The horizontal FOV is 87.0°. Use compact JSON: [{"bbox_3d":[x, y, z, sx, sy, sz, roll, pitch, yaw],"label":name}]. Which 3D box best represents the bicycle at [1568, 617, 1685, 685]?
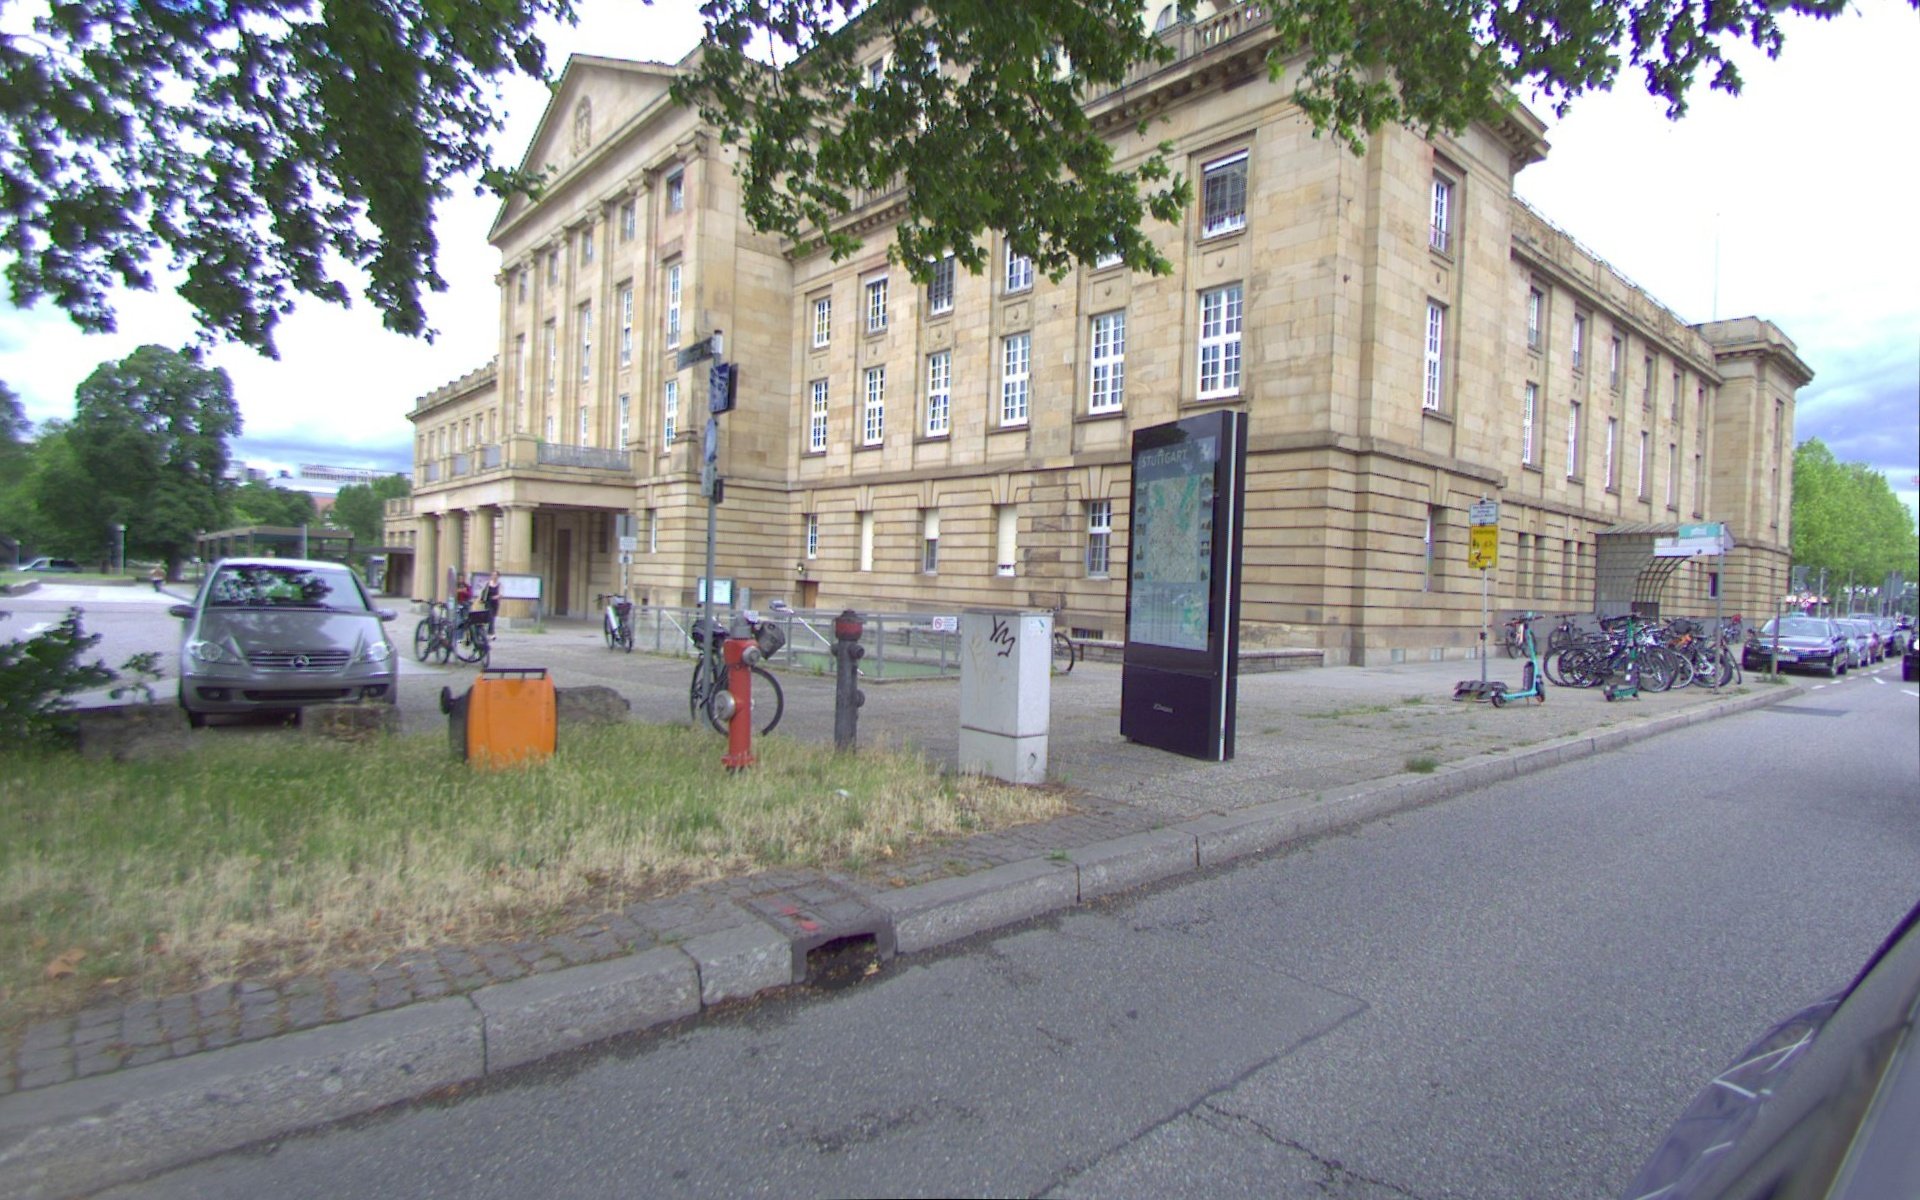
[{"bbox_3d":[11.702,0.870,17.833,0.417,1.105,1.736,1,0,-28],"label":"bicycle"}]

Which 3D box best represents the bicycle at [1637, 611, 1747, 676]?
[{"bbox_3d":[13.682,0.797,18.949,1.596,1.144,0.405,1,-1,24],"label":"bicycle"}]

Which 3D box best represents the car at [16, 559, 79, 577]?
[{"bbox_3d":[-96.226,-3.395,106.786,4.823,1.761,2.076,0,0,-38],"label":"car"}]

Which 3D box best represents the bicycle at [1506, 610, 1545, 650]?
[{"bbox_3d":[14.664,0.764,26.224,1.929,1.010,0.240,0,1,-42],"label":"bicycle"}]

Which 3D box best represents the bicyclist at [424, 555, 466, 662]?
[{"bbox_3d":[-8.737,0.140,17.166,0.436,1.770,0.468,2,0,41],"label":"bicyclist"}]

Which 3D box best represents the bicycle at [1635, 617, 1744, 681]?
[{"bbox_3d":[13.729,0.910,19.086,1.596,1.144,0.466,1,-1,24],"label":"bicycle"}]

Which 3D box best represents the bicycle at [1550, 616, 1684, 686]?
[{"bbox_3d":[11.313,0.846,17.492,0.652,1.105,1.866,1,0,-28],"label":"bicycle"}]

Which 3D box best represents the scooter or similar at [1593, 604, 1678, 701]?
[{"bbox_3d":[9.999,0.738,14.966,1.389,1.348,0.726,1,0,-42],"label":"scooter or similar"}]

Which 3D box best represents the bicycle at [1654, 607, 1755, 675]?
[{"bbox_3d":[14.735,0.796,20.066,0.532,1.273,1.550,1,0,-22],"label":"bicycle"}]

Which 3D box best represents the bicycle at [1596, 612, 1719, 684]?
[{"bbox_3d":[12.729,0.846,18.506,0.594,1.224,1.759,1,-1,-44],"label":"bicycle"}]

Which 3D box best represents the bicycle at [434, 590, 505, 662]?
[{"bbox_3d":[-8.406,0.422,17.314,1.748,1.146,0.437,2,1,42],"label":"bicycle"}]

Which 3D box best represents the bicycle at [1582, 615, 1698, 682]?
[{"bbox_3d":[12.070,0.831,18.011,0.373,1.105,1.736,1,0,-28],"label":"bicycle"}]

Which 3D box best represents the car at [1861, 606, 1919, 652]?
[{"bbox_3d":[35.264,1.086,38.025,3.642,1.571,1.549,1,2,-40],"label":"car"}]

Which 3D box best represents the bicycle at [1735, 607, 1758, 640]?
[{"bbox_3d":[32.904,0.977,42.344,1.759,1.304,0.413,1,1,-42],"label":"bicycle"}]

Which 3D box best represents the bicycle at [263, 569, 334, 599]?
[{"bbox_3d":[-32.827,-0.793,50.266,0.959,1.444,2.852,-1,-1,45],"label":"bicycle"}]

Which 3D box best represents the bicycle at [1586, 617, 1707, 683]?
[{"bbox_3d":[12.381,0.871,18.304,0.563,1.105,1.735,1,0,-32],"label":"bicycle"}]

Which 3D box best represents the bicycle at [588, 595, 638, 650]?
[{"bbox_3d":[-7.407,0.450,21.552,0.418,1.114,2.172,1,0,-35],"label":"bicycle"}]

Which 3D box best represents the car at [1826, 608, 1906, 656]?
[{"bbox_3d":[31.227,1.070,34.862,3.792,1.473,1.618,1,2,-42],"label":"car"}]

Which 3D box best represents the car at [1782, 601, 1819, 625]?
[{"bbox_3d":[57.357,0.882,69.042,3.445,1.549,1.581,1,0,-44],"label":"car"}]

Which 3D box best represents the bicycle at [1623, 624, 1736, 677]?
[{"bbox_3d":[14.191,0.979,20.014,0.601,0.928,1.737,1,1,-22],"label":"bicycle"}]

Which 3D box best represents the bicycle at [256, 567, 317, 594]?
[{"bbox_3d":[-34.494,-0.993,51.888,2.534,1.362,0.726,0,-1,-41],"label":"bicycle"}]

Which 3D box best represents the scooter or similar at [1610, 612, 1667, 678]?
[{"bbox_3d":[13.315,0.863,19.850,1.286,1.240,0.427,0,-1,-31],"label":"scooter or similar"}]

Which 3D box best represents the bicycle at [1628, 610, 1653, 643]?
[{"bbox_3d":[22.342,0.865,33.214,1.827,1.042,0.222,1,-1,-42],"label":"bicycle"}]

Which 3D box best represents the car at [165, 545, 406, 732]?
[{"bbox_3d":[-7.192,0.285,10.626,1.649,1.588,3.843,1,1,-40],"label":"car"}]

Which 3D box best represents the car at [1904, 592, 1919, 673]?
[{"bbox_3d":[25.394,0.836,25.471,4.322,1.950,1.951,1,1,-42],"label":"car"}]

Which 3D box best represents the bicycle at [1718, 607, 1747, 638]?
[{"bbox_3d":[31.637,0.915,41.433,1.882,1.232,0.556,1,1,-42],"label":"bicycle"}]

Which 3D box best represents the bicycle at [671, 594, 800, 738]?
[{"bbox_3d":[-2.216,0.587,9.849,0.483,1.236,1.790,1,1,-38],"label":"bicycle"}]

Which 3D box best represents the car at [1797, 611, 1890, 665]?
[{"bbox_3d":[27.382,1.123,31.318,3.929,1.443,1.711,1,2,-43],"label":"car"}]

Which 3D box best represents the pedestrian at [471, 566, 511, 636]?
[{"bbox_3d":[-11.898,0.030,25.671,0.692,1.744,0.680,1,0,-43],"label":"pedestrian"}]

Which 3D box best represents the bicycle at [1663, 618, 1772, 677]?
[{"bbox_3d":[15.111,0.929,20.233,0.573,1.088,1.671,1,0,-22],"label":"bicycle"}]

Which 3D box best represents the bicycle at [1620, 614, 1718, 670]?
[{"bbox_3d":[14.014,0.807,20.041,0.427,1.041,1.570,1,0,-30],"label":"bicycle"}]

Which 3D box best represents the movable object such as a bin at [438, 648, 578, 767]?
[{"bbox_3d":[-3.168,0.703,7.030,0.715,0.660,1.304,0,0,-32],"label":"movable object such as a bin"}]

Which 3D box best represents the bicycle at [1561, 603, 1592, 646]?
[{"bbox_3d":[17.616,0.685,28.920,1.510,1.198,0.276,1,0,-39],"label":"bicycle"}]

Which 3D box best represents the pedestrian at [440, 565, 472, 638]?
[{"bbox_3d":[-12.054,0.023,24.203,0.559,1.716,0.430,1,0,-43],"label":"pedestrian"}]

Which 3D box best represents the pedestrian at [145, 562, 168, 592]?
[{"bbox_3d":[-50.036,-1.438,63.035,0.539,1.828,0.939,0,-1,22],"label":"pedestrian"}]

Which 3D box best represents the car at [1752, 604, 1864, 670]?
[{"bbox_3d":[22.173,0.897,26.416,4.254,1.504,1.790,0,1,-44],"label":"car"}]

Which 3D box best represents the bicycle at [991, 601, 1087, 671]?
[{"bbox_3d":[1.397,0.623,18.257,0.382,1.139,2.014,1,1,-41],"label":"bicycle"}]

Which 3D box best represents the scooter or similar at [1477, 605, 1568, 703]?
[{"bbox_3d":[7.750,0.716,13.928,1.405,1.297,0.433,1,0,-30],"label":"scooter or similar"}]

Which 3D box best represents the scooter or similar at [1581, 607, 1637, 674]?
[{"bbox_3d":[12.934,0.798,20.169,1.126,1.295,0.564,1,-1,-35],"label":"scooter or similar"}]
